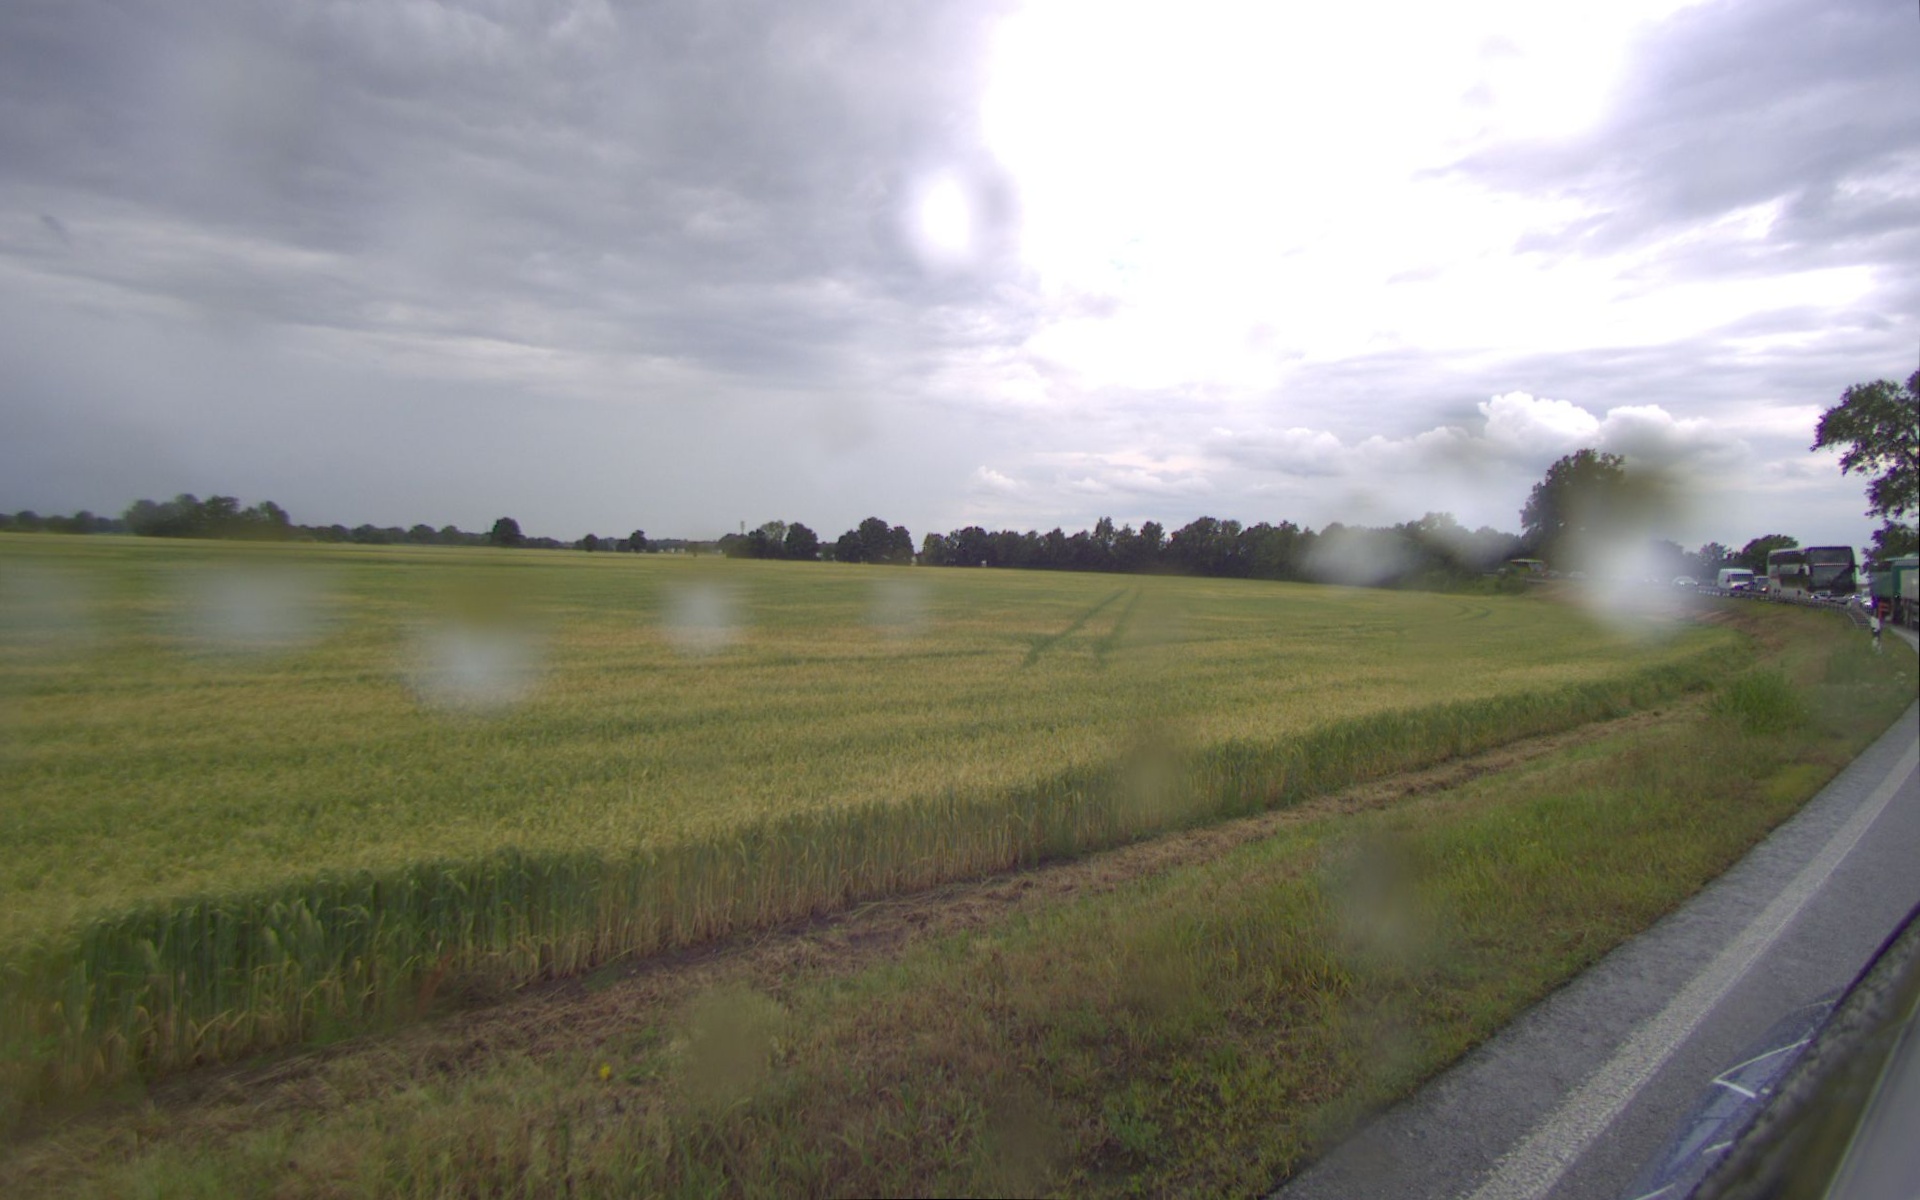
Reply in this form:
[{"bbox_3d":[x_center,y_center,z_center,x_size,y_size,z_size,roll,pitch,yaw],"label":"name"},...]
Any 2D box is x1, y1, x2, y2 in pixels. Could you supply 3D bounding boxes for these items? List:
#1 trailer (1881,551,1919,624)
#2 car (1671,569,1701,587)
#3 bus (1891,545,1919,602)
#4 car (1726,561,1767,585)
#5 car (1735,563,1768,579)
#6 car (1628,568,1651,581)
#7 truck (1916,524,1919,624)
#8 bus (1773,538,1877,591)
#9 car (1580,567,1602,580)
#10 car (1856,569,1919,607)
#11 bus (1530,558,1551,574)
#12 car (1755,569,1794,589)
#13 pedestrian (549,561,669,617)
[{"bbox_3d":[40.286,-0.658,41.183,2.970,2.665,15.468,-1,1,38],"label":"trailer"},{"bbox_3d":[82.161,-2.518,114.597,1.978,2.039,4.198,-1,1,24],"label":"car"},{"bbox_3d":[59.322,-1.596,61.074,2.748,3.339,12.349,0,0,34],"label":"bus"},{"bbox_3d":[72.696,-2.499,93.594,1.981,2.039,5.286,-1,1,27],"label":"car"},{"bbox_3d":[102.032,-3.771,130.571,1.973,2.039,4.098,-1,1,17],"label":"car"},{"bbox_3d":[106.921,-4.041,159.261,1.863,2.039,4.273,-1,1,18],"label":"car"},{"bbox_3d":[35.062,-0.894,34.532,2.970,3.655,5.998,-1,1,38],"label":"truck"},{"bbox_3d":[60.687,-2.564,71.415,2.941,3.353,14.683,-1,2,30],"label":"bus"},{"bbox_3d":[102.033,-4.271,163.698,1.974,2.039,4.208,-1,1,18],"label":"car"},{"bbox_3d":[50.028,-0.673,54.440,2.029,1.865,5.272,-1,1,34],"label":"car"},{"bbox_3d":[109.379,-6.388,190.859,1.973,2.951,6.971,-1,1,18],"label":"bus"},{"bbox_3d":[67.631,-1.760,84.062,1.798,1.597,3.961,-1,1,29],"label":"car"},{"bbox_3d":[-13.507,-0.457,39.155,1.987,2.039,3.950,-1,1,36],"label":"pedestrian"}]
